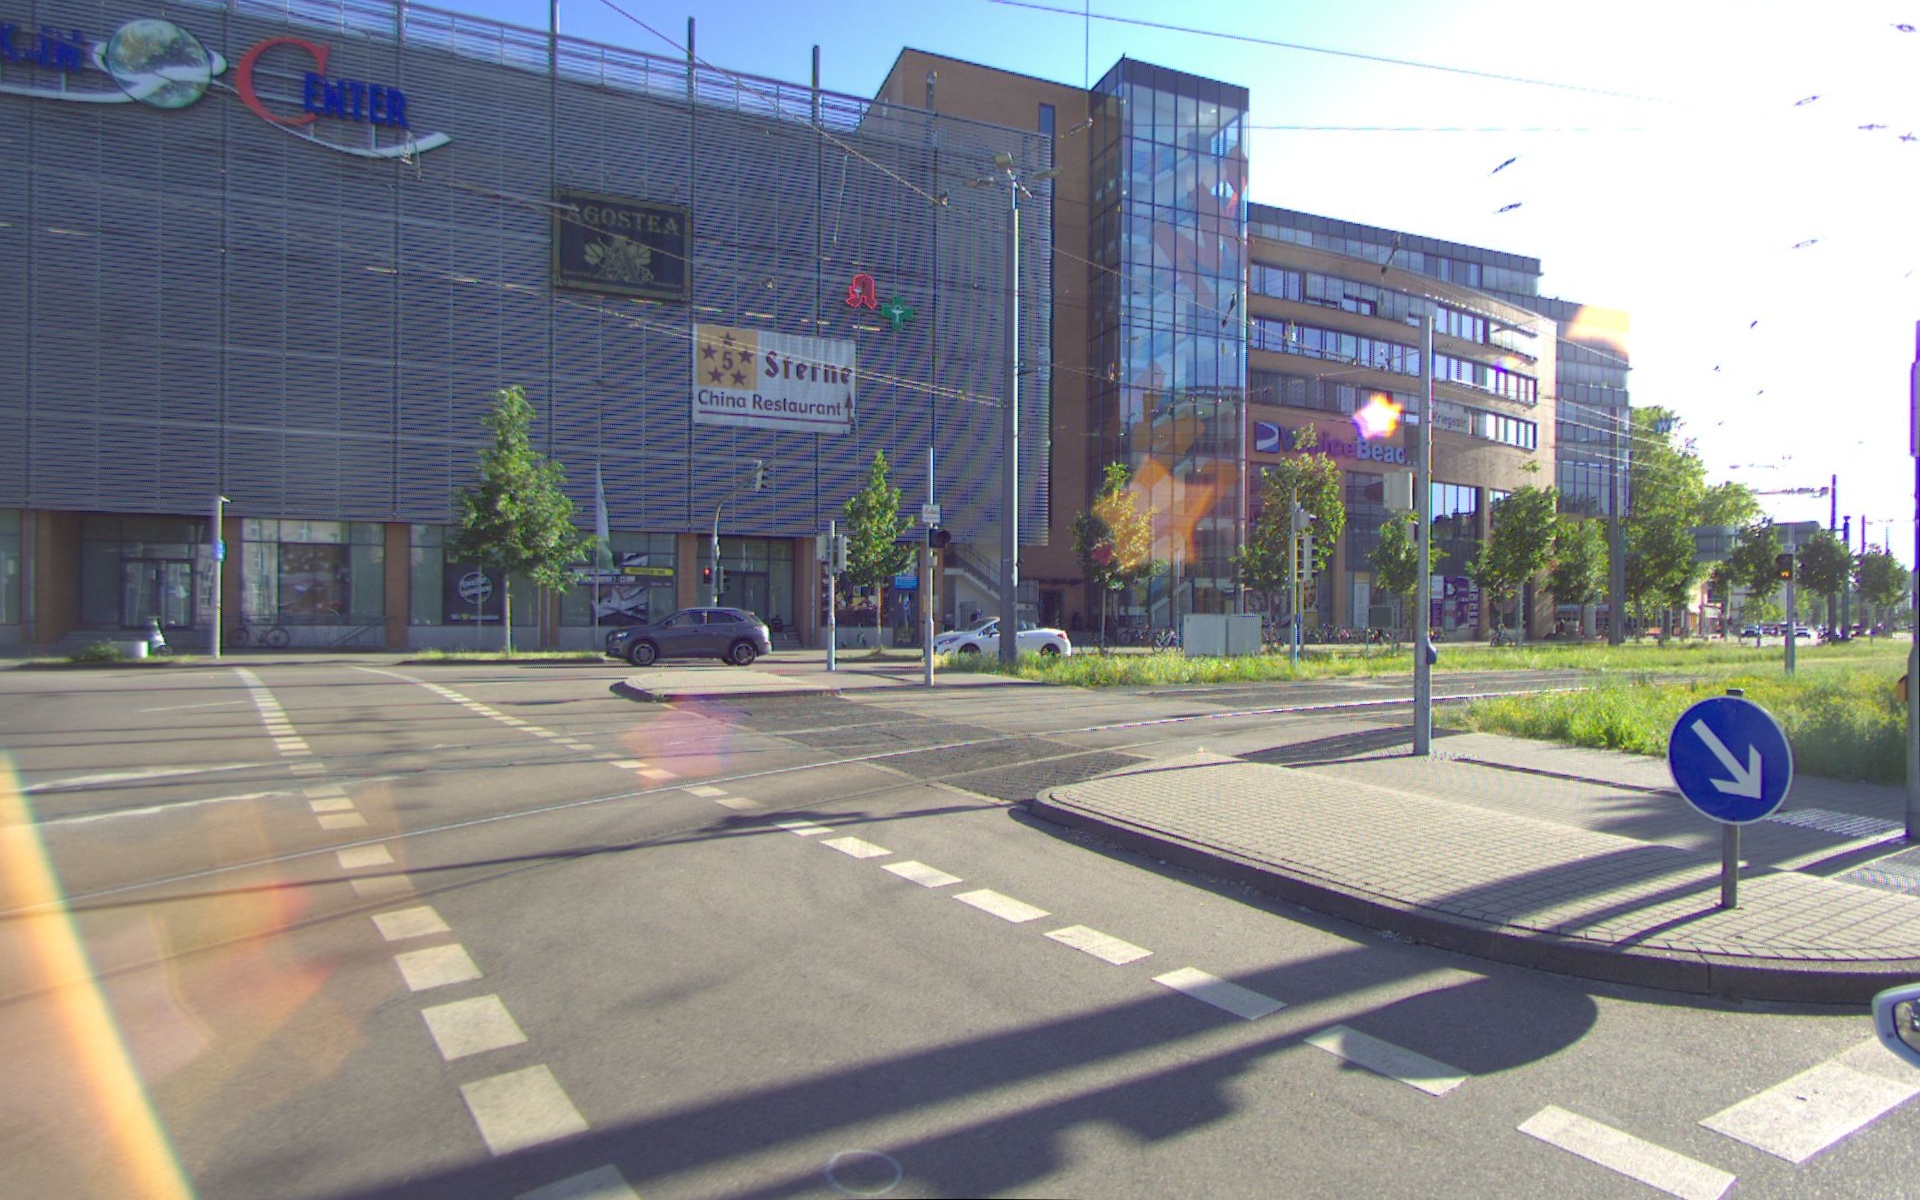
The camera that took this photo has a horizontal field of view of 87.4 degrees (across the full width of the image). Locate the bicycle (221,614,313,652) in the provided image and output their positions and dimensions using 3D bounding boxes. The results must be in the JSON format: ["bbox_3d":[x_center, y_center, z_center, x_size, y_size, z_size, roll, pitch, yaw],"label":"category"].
[{"bbox_3d":[-23.237,1.108,33.728,2.377,1.237,0.799,1,-1,-18],"label":"bicycle"}]

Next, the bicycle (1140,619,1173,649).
[{"bbox_3d":[9.814,1.700,50.279,0.846,1.452,2.085,1,-2,-12],"label":"bicycle"}]

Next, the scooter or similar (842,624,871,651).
[{"bbox_3d":[-4.446,1.629,43.214,1.135,1.124,0.420,2,-2,-21],"label":"scooter or similar"}]

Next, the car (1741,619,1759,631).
[{"bbox_3d":[134.948,4.255,171.671,1.973,2.040,3.974,-1,-1,45],"label":"car"}]

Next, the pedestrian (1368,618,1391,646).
[{"bbox_3d":[24.722,1.894,59.165,0.958,1.608,0.811,1,-1,-30],"label":"pedestrian"}]

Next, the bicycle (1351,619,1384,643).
[{"bbox_3d":[24.692,1.882,60.912,0.745,1.452,2.140,1,-2,-12],"label":"bicycle"}]

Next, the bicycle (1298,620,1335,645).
[{"bbox_3d":[20.881,1.892,58.930,0.758,1.452,2.610,1,-2,-12],"label":"bicycle"}]

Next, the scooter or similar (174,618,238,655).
[{"bbox_3d":[-26.029,1.264,34.687,1.551,1.222,0.792,2,-2,-21],"label":"scooter or similar"}]

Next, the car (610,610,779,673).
[{"bbox_3d":[-7.504,1.151,28.358,4.350,1.662,1.989,1,-1,-24],"label":"car"}]

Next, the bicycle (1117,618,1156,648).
[{"bbox_3d":[8.776,1.635,50.041,1.058,1.452,2.372,1,-2,-12],"label":"bicycle"}]

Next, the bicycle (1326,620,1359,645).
[{"bbox_3d":[22.858,1.960,60.055,0.706,1.452,2.248,1,-2,-12],"label":"bicycle"}]

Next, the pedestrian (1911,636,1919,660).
[{"bbox_3d":[75.393,3.777,78.863,0.822,1.848,0.895,3,-2,-38],"label":"pedestrian"}]

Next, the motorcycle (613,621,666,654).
[{"bbox_3d":[-12.294,1.447,38.578,1.866,1.255,0.674,2,-2,-22],"label":"motorcycle"}]

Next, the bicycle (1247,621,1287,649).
[{"bbox_3d":[16.228,1.861,53.218,0.889,1.452,2.564,1,-2,-12],"label":"bicycle"}]

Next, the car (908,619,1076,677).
[{"bbox_3d":[0.936,1.351,29.074,4.469,1.566,1.987,1,-1,-26],"label":"car"}]

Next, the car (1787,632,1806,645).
[{"bbox_3d":[111.704,5.115,134.131,1.970,1.706,3.982,0,-2,40],"label":"car"}]

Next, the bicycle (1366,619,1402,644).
[{"bbox_3d":[25.803,1.929,61.220,0.775,1.452,2.423,1,-2,-12],"label":"bicycle"}]

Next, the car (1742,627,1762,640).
[{"bbox_3d":[107.180,4.468,135.914,1.970,1.706,3.982,0,-2,40],"label":"car"}]

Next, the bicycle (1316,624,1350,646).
[{"bbox_3d":[22.129,2.064,59.604,0.732,1.252,2.416,1,-2,-12],"label":"bicycle"}]

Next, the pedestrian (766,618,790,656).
[{"bbox_3d":[-7.823,1.604,43.221,0.817,1.586,0.986,2,-2,-21],"label":"pedestrian"}]

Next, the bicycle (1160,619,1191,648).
[{"bbox_3d":[10.844,1.693,50.647,0.793,1.452,1.980,1,-2,-12],"label":"bicycle"}]

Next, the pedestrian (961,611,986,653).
[{"bbox_3d":[0.603,1.430,45.098,0.891,1.848,0.825,2,-2,-20],"label":"pedestrian"}]
